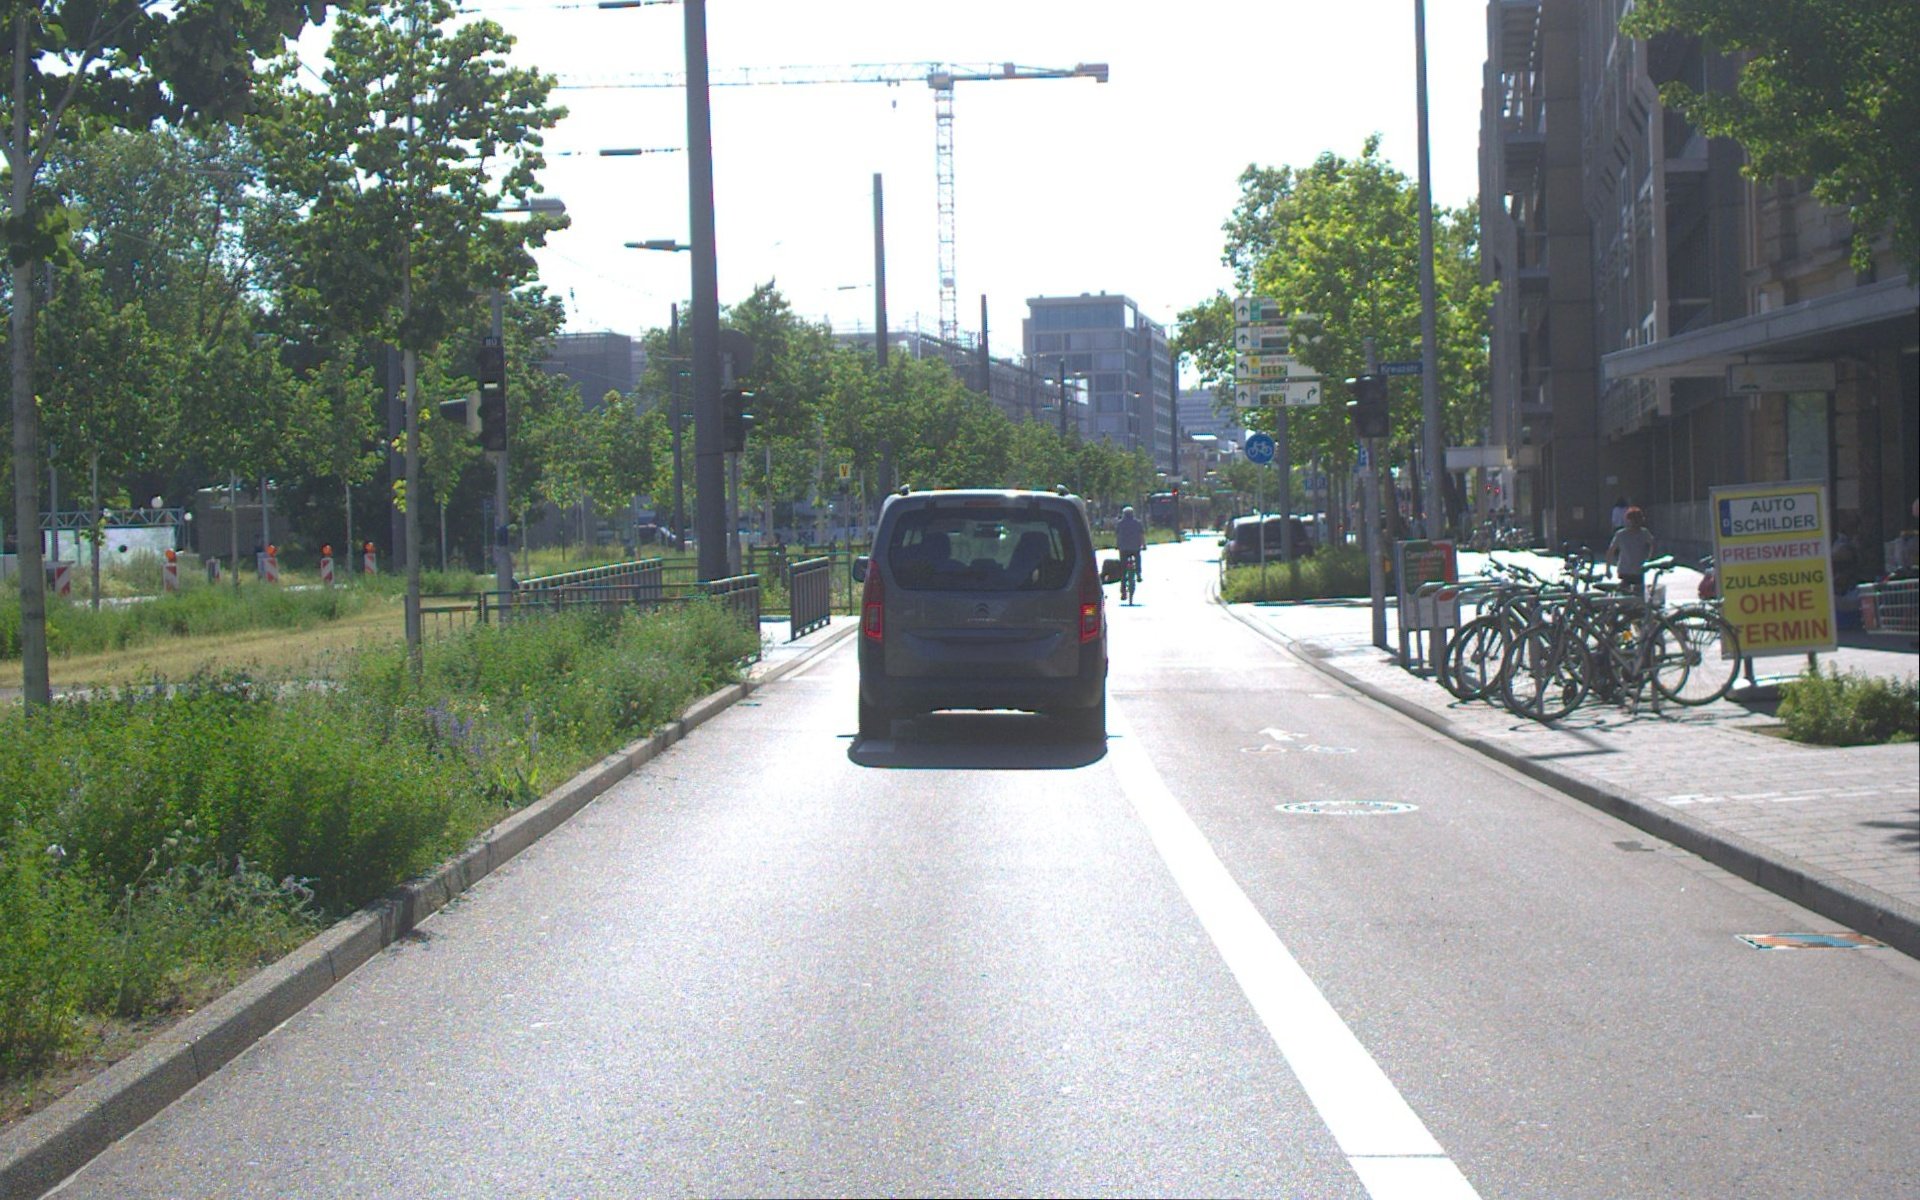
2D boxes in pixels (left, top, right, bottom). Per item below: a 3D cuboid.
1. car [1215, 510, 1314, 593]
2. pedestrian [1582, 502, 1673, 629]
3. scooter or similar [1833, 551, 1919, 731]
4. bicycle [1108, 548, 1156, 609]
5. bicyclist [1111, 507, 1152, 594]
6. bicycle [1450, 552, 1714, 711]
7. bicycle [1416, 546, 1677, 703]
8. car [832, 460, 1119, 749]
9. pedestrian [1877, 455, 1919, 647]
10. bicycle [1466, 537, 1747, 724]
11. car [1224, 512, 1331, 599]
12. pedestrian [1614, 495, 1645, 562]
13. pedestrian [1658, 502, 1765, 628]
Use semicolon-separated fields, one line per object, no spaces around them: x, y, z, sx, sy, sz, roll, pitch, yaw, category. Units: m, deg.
6.483;-1.027;73.507;2.021;1.716;4.118;0;0;4;car
7.437;-0.385;38.331;0.703;1.331;1.011;-5;0;0;pedestrian
6.352;0.241;22.164;1.220;1.102;0.783;-2;2;2;scooter or similar
3.183;-0.413;63.662;0.701;1.087;2.277;-1;1;-2;bicycle
3.169;-0.918;63.591;0.682;1.579;0.840;-1;1;-2;bicyclist
4.791;0.235;26.530;1.824;1.075;0.665;-4;1;-7;bicycle
4.774;0.193;28.047;1.915;1.117;0.665;-5;1;-7;bicycle
0.079;-0.034;25.905;1.993;2.006;4.001;0;2;-1;car
8.976;-0.459;31.521;0.844;1.736;0.886;-2;0;0;pedestrian
4.694;0.215;24.994;1.878;1.229;0.500;-4;1;-6;bicycle
6.169;-0.859;67.186;1.989;1.632;4.189;0;0;4;car
16.824;-1.802;86.419;0.700;1.647;0.724;-1;1;7;pedestrian
8.140;-0.385;37.296;0.832;1.283;1.007;-5;1;0;pedestrian
